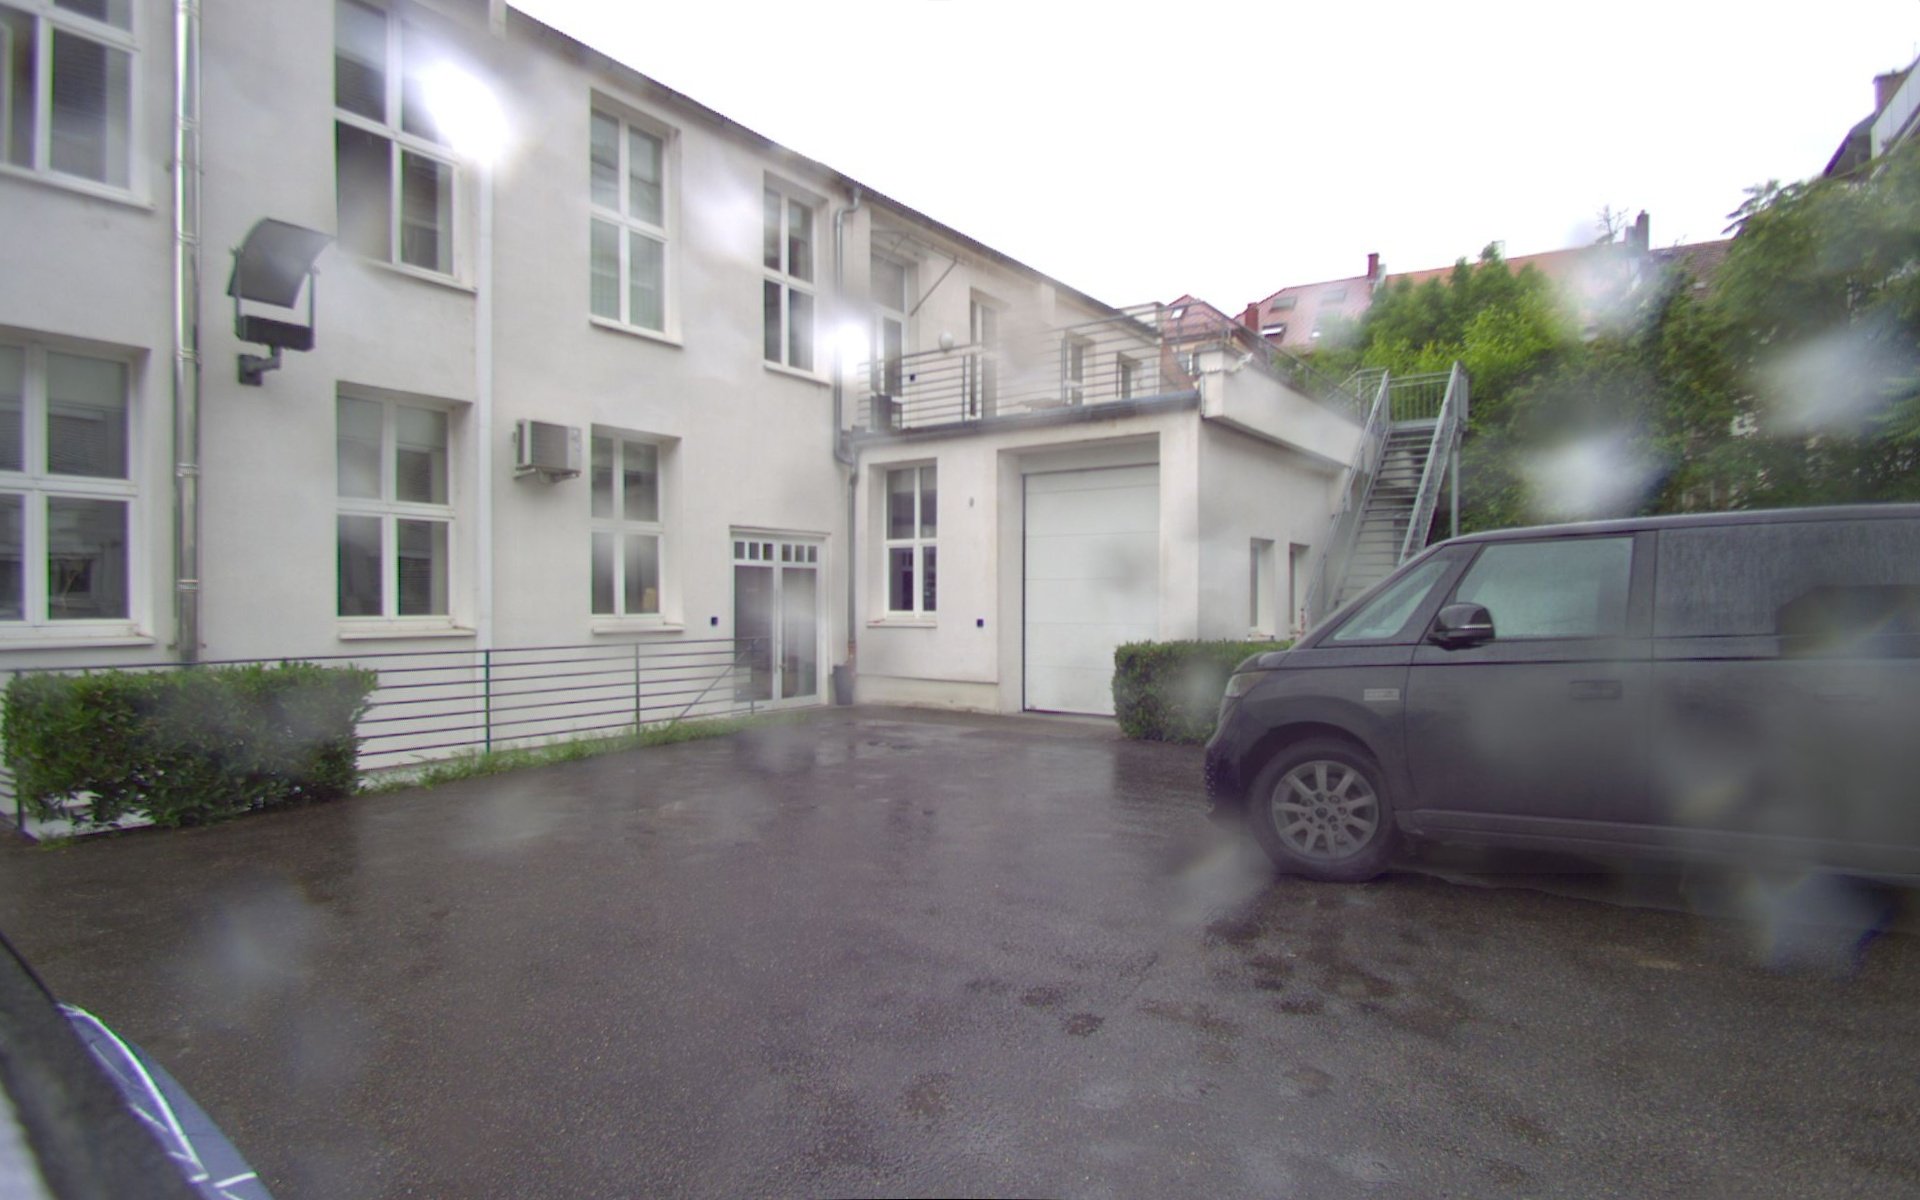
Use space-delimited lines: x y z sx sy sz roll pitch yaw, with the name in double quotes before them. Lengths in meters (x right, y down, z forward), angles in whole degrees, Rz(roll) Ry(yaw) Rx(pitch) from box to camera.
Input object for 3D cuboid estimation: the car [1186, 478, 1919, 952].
"car" 3.680 0.485 5.351 4.501 1.912 2.027 -1 -1 28
